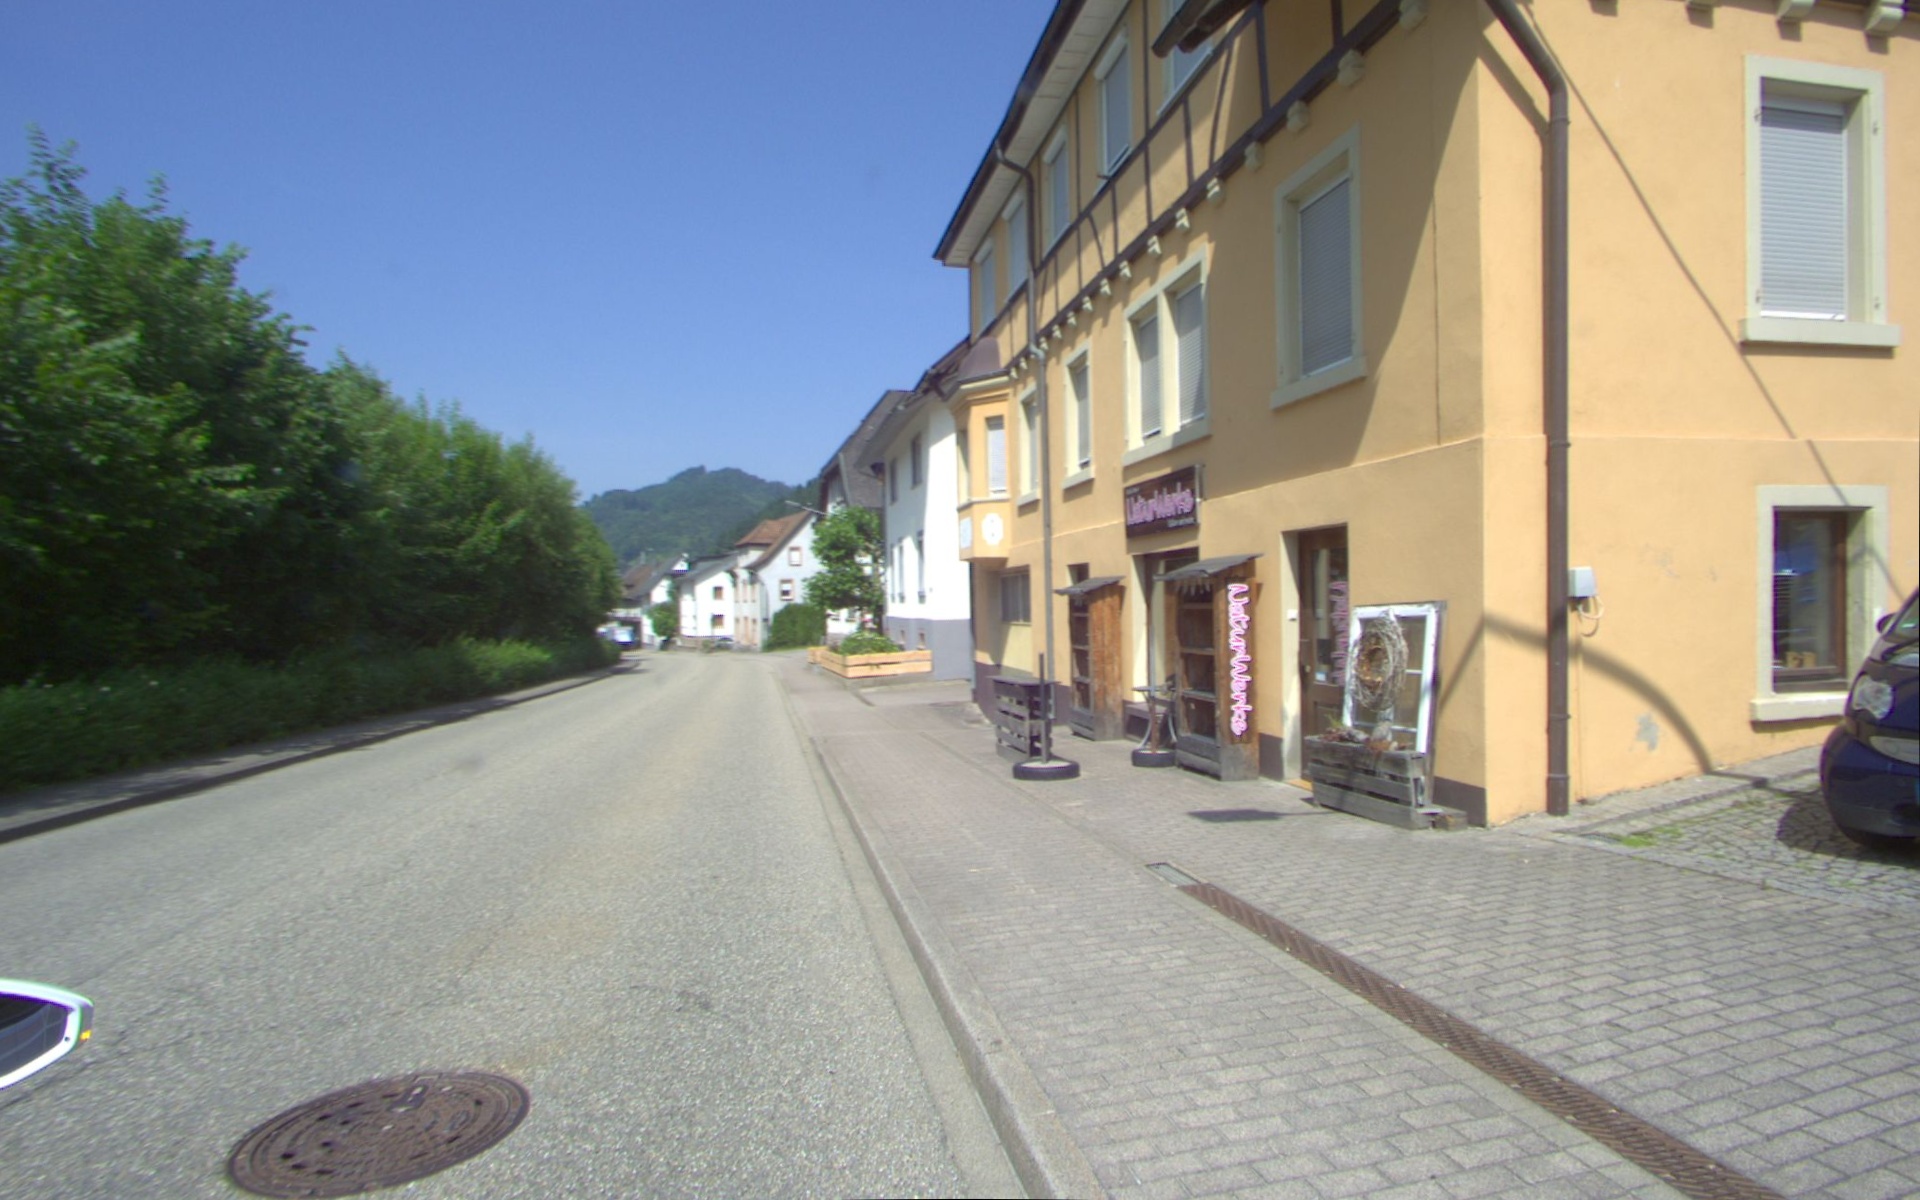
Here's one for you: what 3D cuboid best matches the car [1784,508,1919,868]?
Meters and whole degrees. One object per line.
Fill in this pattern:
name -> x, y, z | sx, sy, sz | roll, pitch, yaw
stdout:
car -> 5.435, 0.220, 4.397 | 2.614, 1.555, 1.425 | -7, -1, -15

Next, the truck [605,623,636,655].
truck -> -47.249, 5.439, 139.165 | 3.318, 3.828, 8.423 | -5, -2, -23
